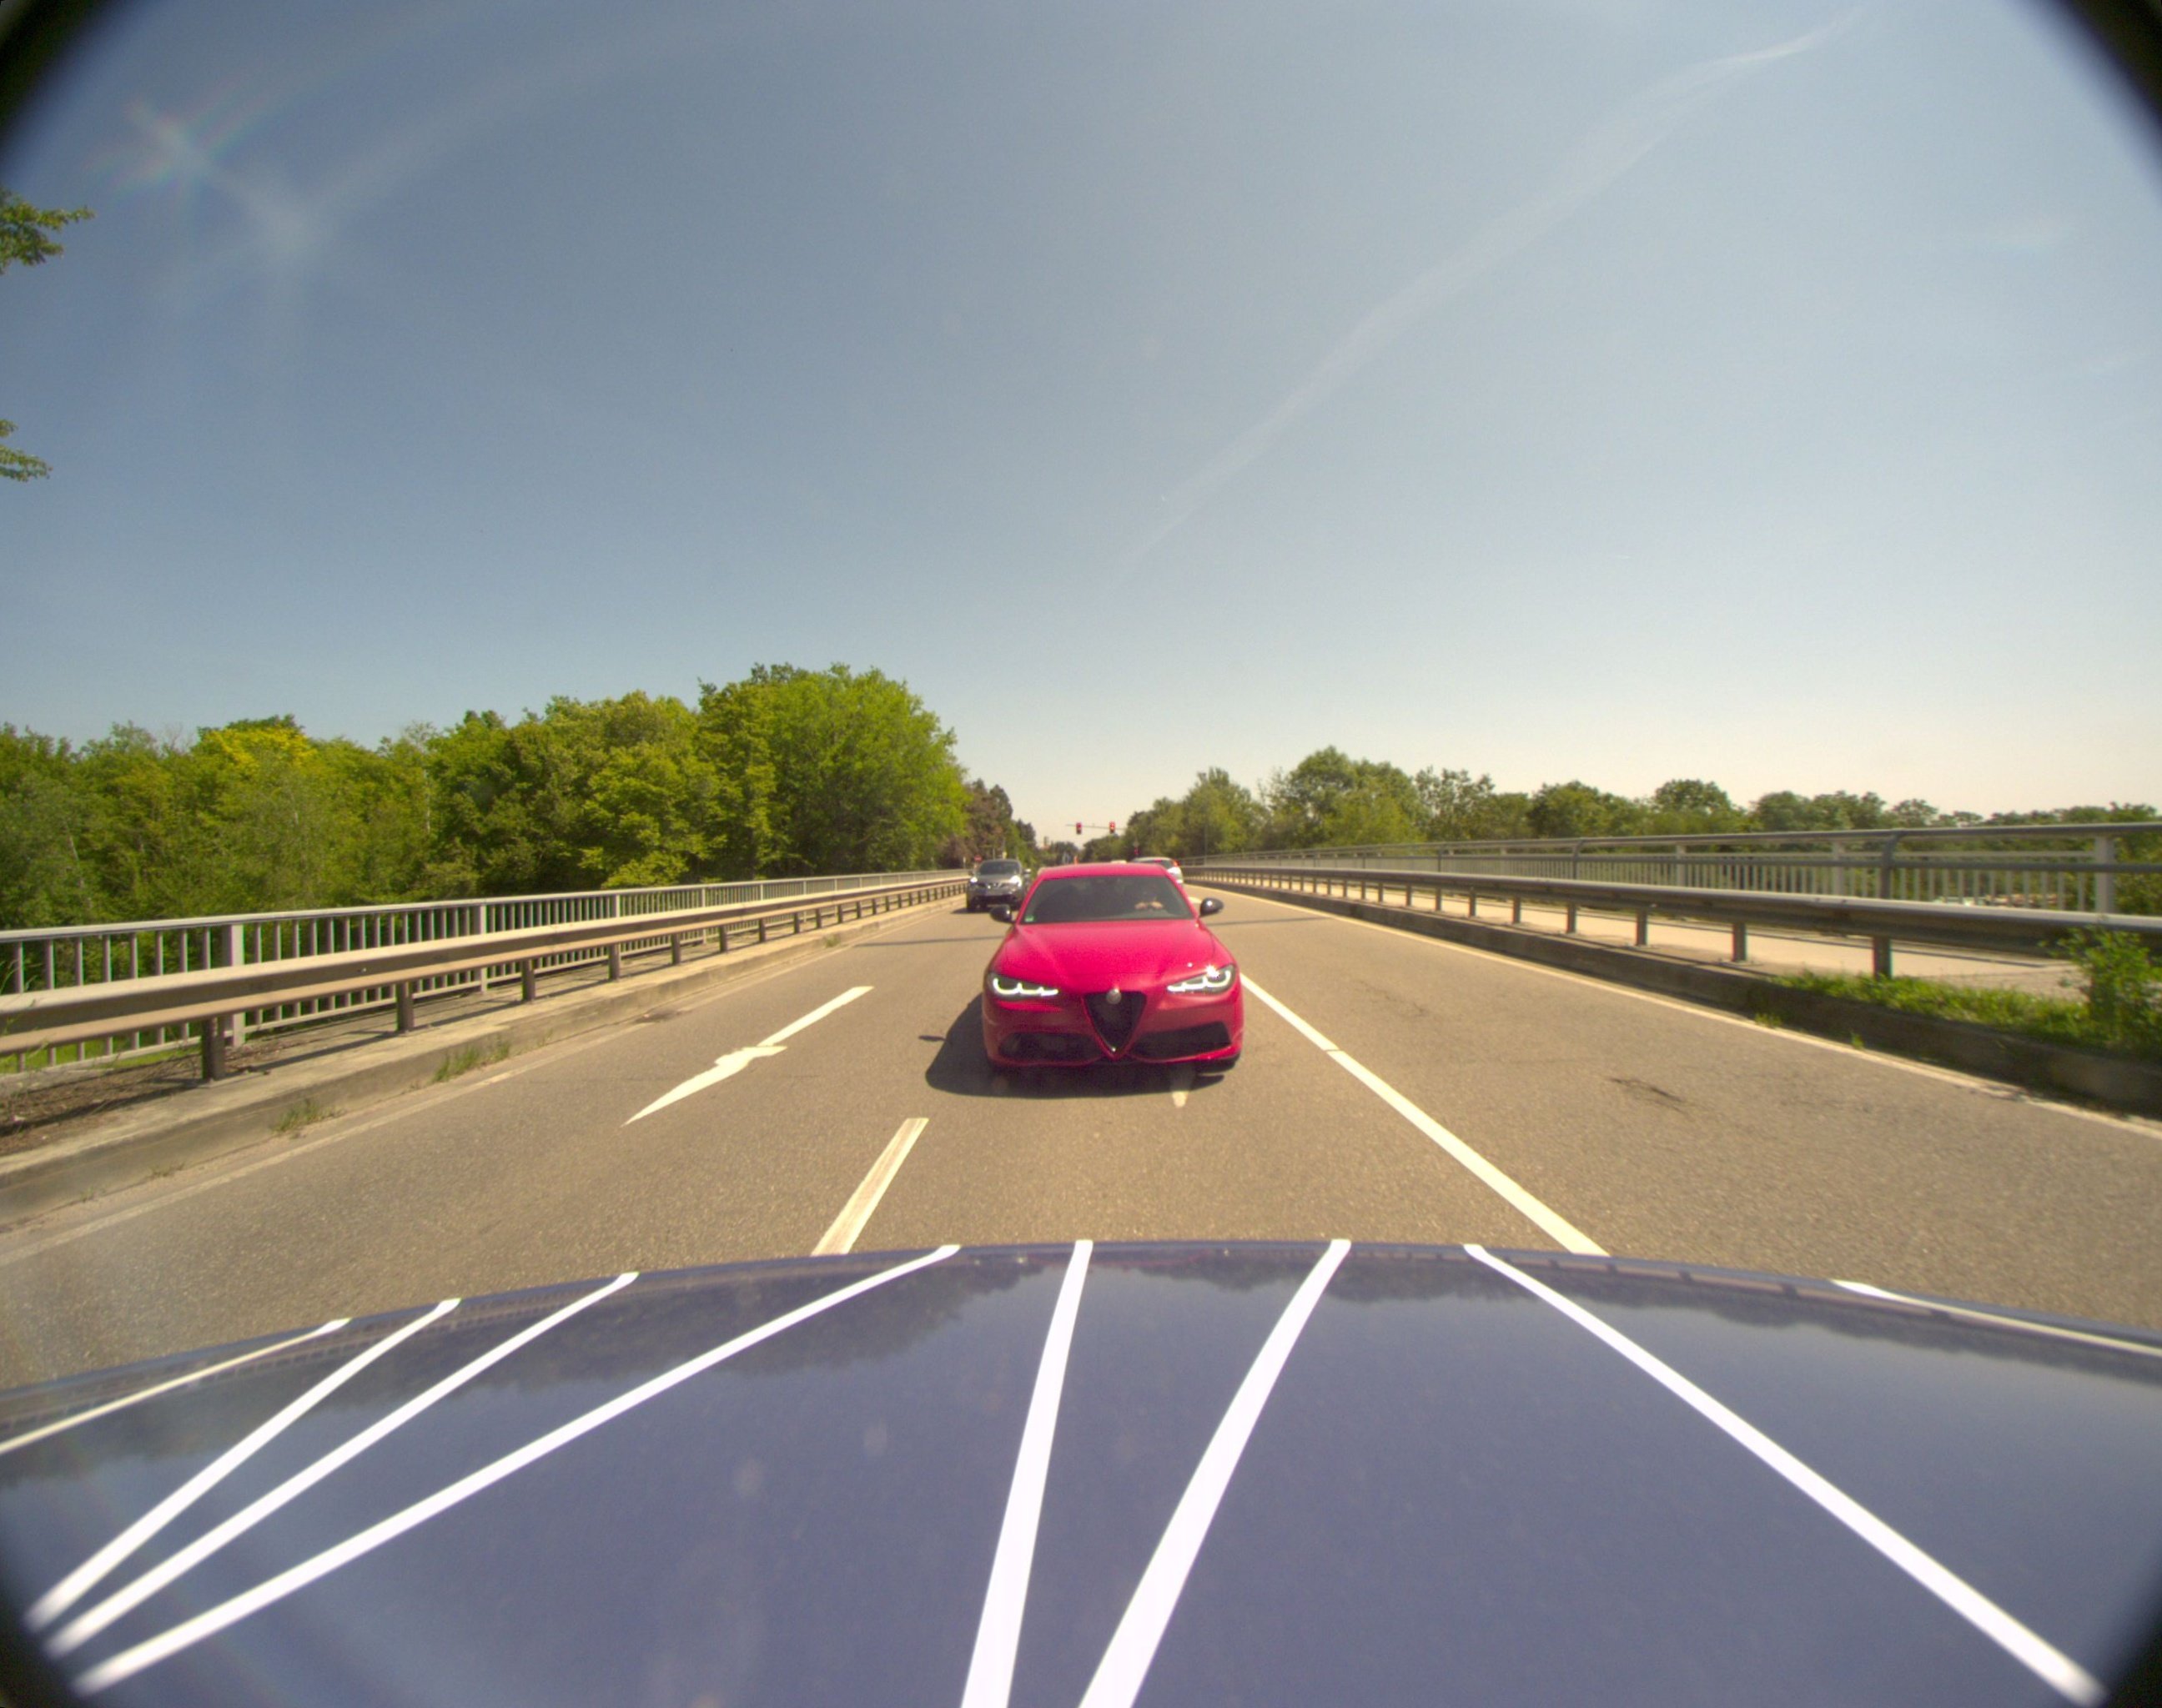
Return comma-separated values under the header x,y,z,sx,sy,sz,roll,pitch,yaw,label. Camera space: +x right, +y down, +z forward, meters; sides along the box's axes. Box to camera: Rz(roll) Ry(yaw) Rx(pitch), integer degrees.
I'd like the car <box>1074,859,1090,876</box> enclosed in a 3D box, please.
x,y,z,sx,sy,sz,roll,pitch,yaw,label
0.106,1.379,79.828,1.633,1.667,3.489,-2,1,0,car

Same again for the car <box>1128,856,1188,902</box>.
x,y,z,sx,sy,sz,roll,pitch,yaw,label
2.656,0.822,26.939,1.800,1.448,3.706,-2,0,2,car

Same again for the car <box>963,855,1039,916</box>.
x,y,z,sx,sy,sz,roll,pitch,yaw,label
-2.405,0.904,23.852,1.848,1.675,4.000,-2,0,1,car

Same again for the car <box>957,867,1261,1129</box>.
x,y,z,sx,sy,sz,roll,pitch,yaw,label
0.198,0.909,6.730,1.800,1.448,4.285,-2,0,1,car

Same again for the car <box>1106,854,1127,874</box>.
x,y,z,sx,sy,sz,roll,pitch,yaw,label
3.328,0.931,71.601,1.848,1.758,4.000,-2,0,1,car

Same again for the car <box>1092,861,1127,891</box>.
x,y,z,sx,sy,sz,roll,pitch,yaw,label
1.425,1.099,39.215,1.647,1.373,3.938,-2,0,1,car

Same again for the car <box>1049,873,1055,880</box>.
x,y,z,sx,sy,sz,roll,pitch,yaw,label
-6.869,5.355,181.292,1.416,1.499,3.316,-1,1,0,car
